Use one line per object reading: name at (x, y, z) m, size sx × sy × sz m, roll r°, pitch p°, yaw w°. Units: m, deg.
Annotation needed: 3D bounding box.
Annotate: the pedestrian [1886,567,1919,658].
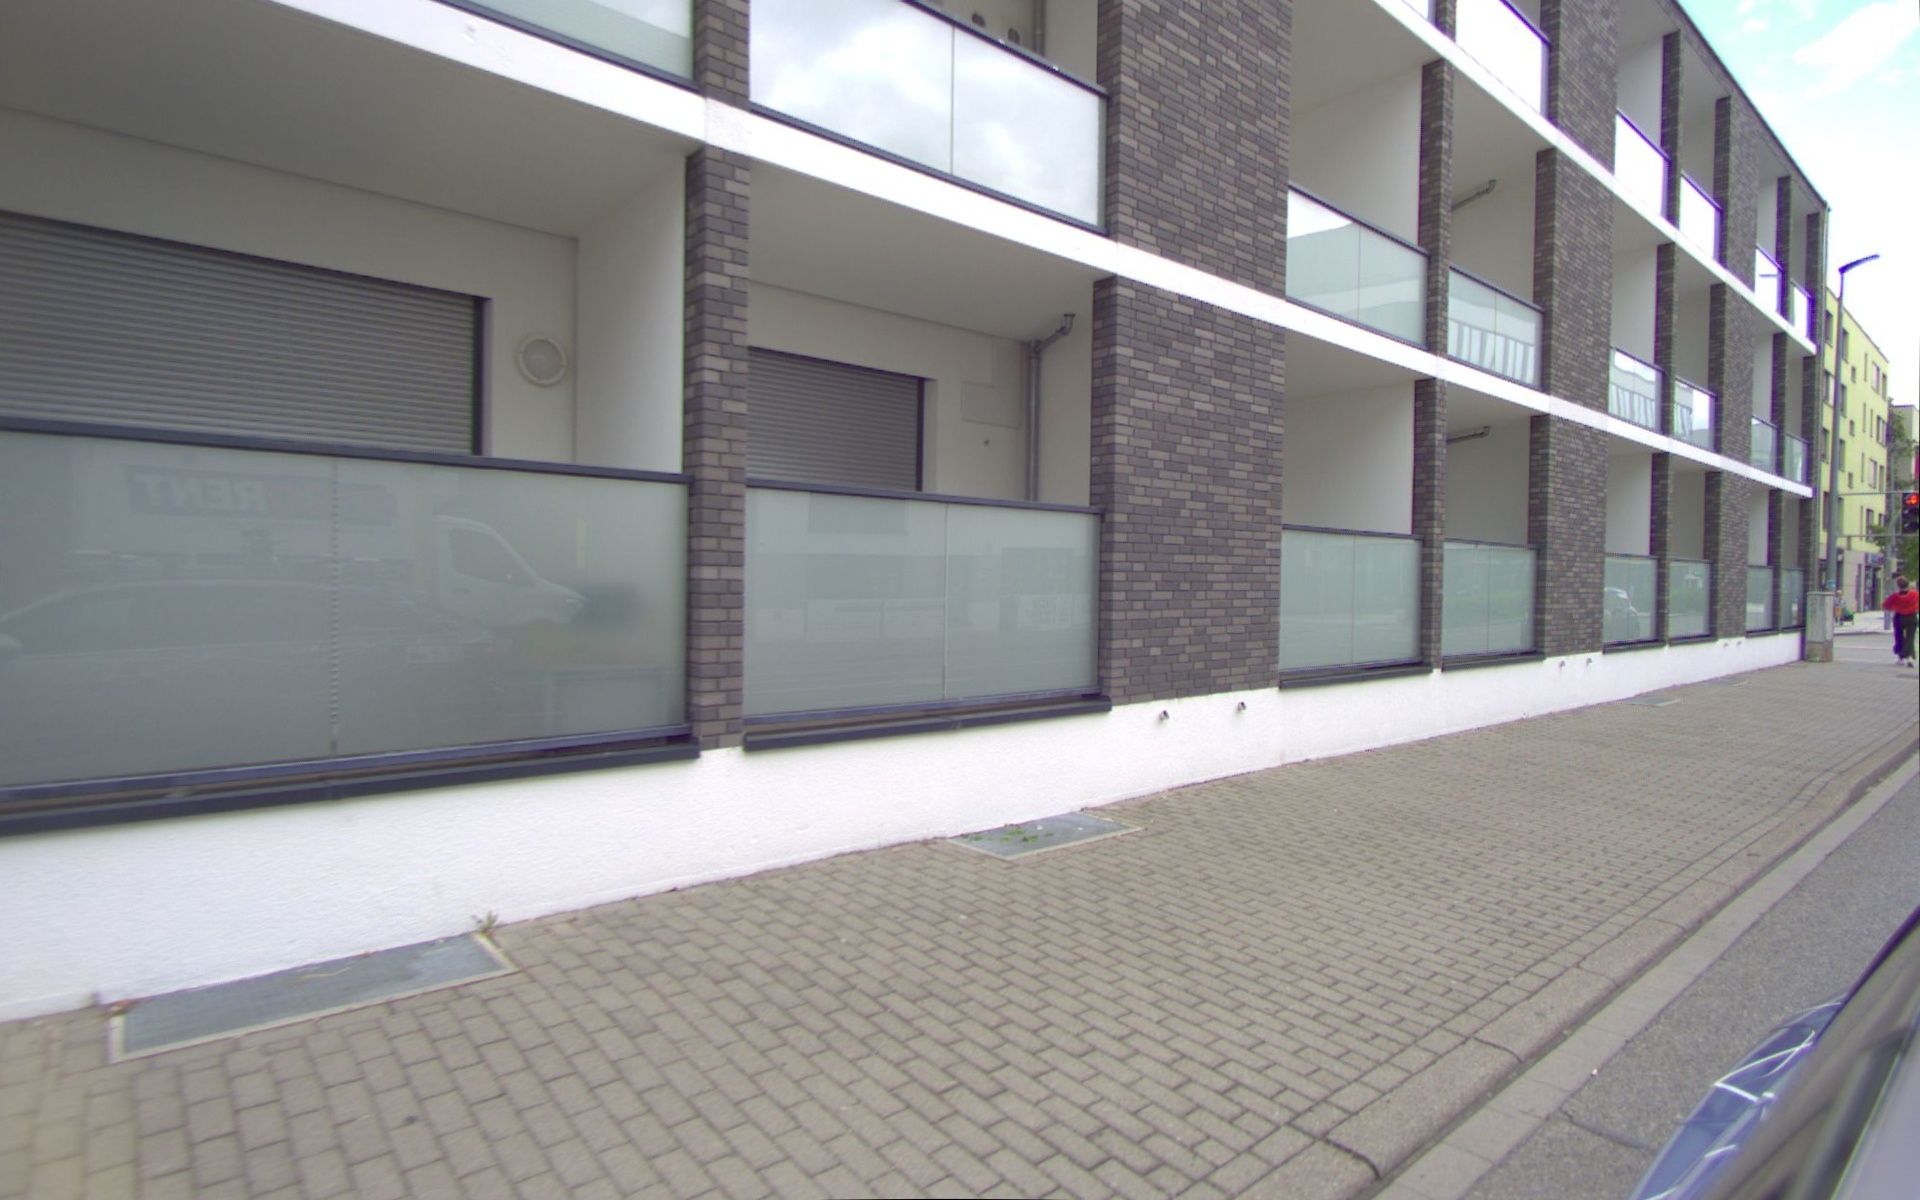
pedestrian at (18.890, 0.243, 19.862) m, size 0.885 × 1.763 × 0.937 m, roll 0°, pitch 1°, yaw -41°
